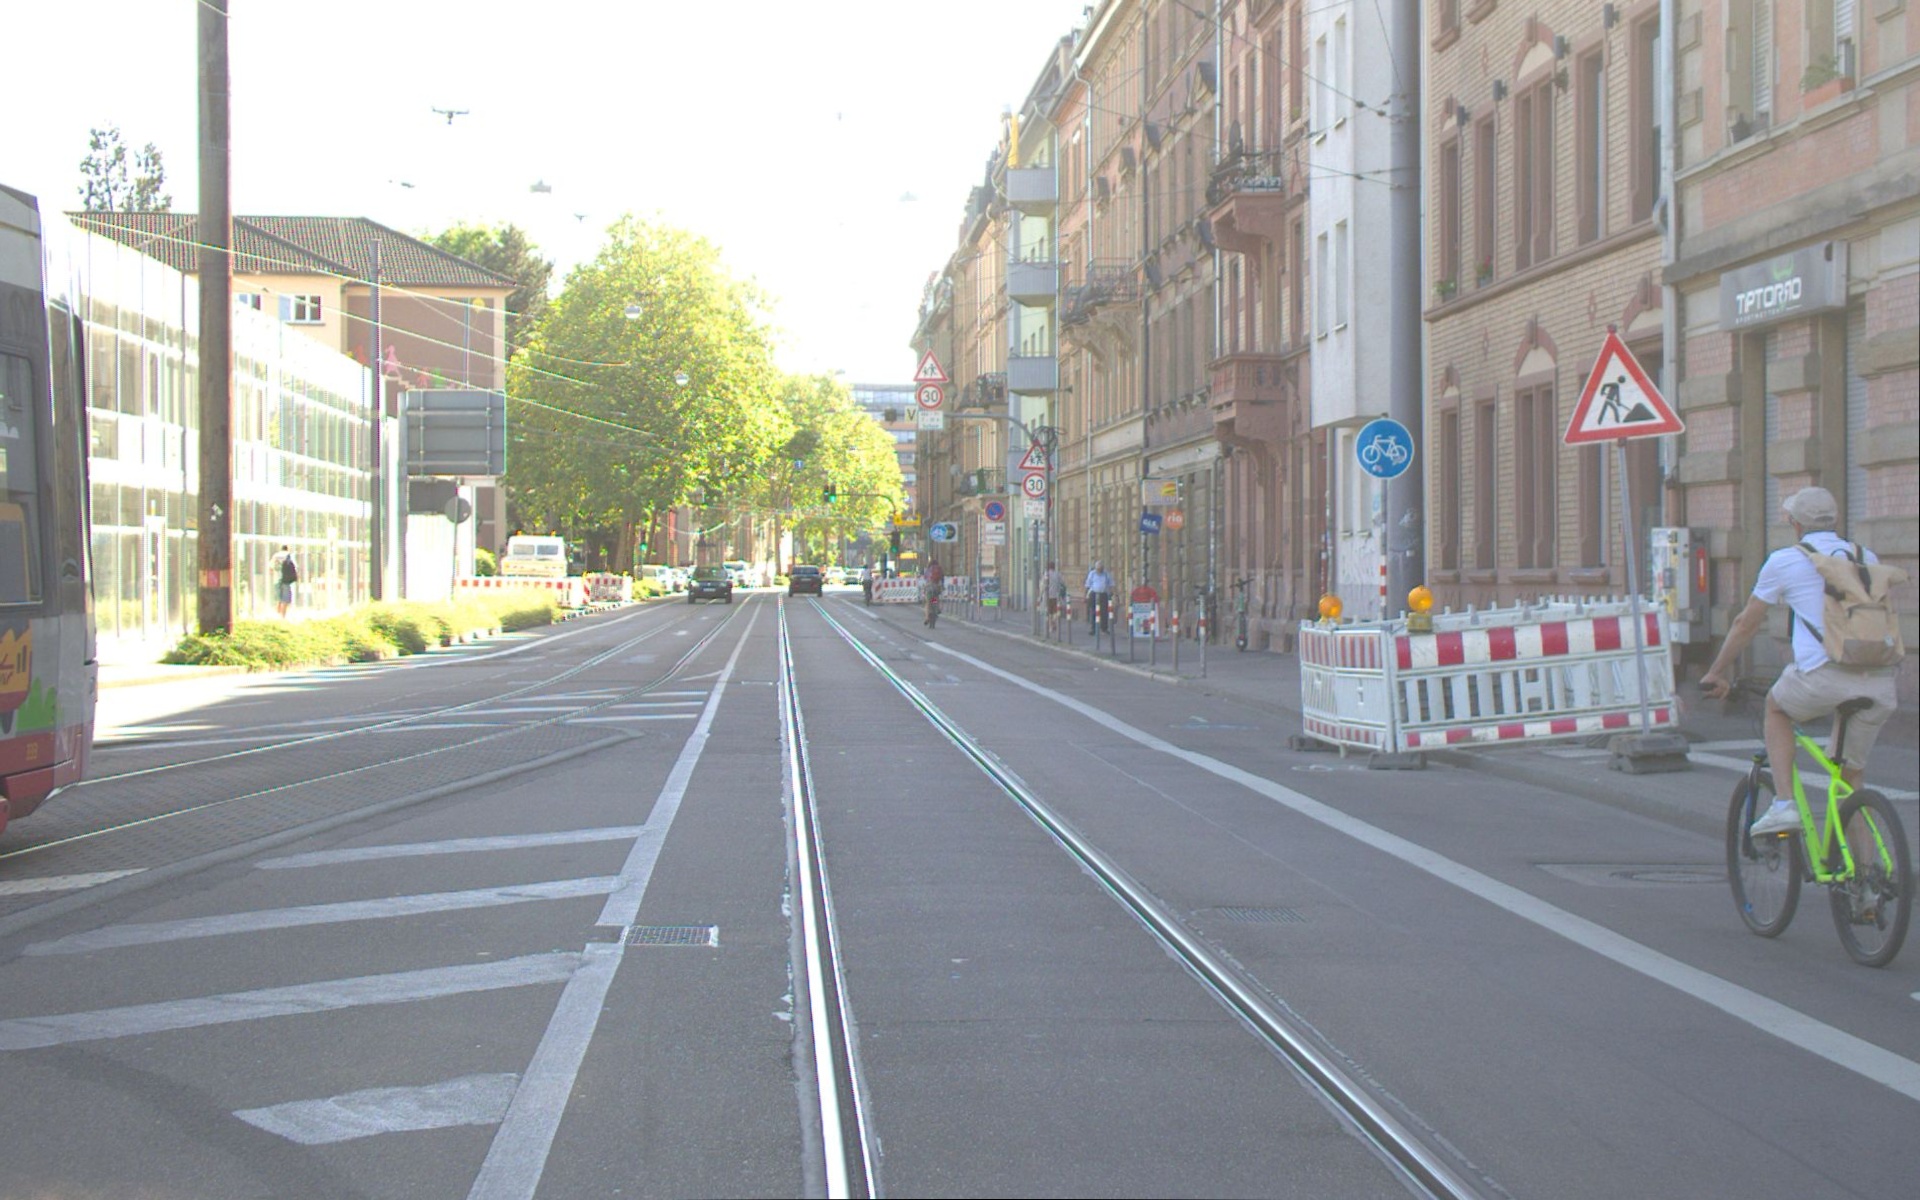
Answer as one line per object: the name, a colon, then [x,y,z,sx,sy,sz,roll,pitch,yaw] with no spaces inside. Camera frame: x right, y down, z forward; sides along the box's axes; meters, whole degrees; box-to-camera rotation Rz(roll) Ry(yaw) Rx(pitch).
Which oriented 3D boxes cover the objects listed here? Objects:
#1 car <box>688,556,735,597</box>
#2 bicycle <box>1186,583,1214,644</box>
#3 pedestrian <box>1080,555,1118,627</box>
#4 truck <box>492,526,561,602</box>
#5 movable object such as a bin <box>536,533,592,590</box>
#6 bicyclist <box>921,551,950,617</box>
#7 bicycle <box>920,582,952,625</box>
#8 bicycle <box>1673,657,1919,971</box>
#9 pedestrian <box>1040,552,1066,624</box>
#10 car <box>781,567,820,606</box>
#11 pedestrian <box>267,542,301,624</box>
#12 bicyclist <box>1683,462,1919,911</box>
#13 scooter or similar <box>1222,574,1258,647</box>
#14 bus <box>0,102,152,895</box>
car: [-10.510,-0.981,145.604,1.759,1.691,4.144,2,0,-2]
bicycle: [4.474,0.244,64.103,0.409,1.117,1.898,-1,0,1]
pedestrian: [3.091,-0.192,76.616,0.798,1.599,0.652,0,0,-1]
truck: [-16.875,-1.379,134.049,2.537,2.820,6.377,2,0,-7]
movable object such as a bin: [-18.973,-1.834,165.025,2.494,2.636,5.990,2,0,-6]
bicyclist: [-0.640,-0.420,90.470,0.667,1.691,1.043,2,0,-3]
bicycle: [-0.641,0.088,90.764,0.681,1.110,2.707,2,0,-3]
bicycle: [3.381,0.808,13.673,0.531,1.114,1.934,2,0,-4]
pedestrian: [2.191,-0.283,80.896,0.553,1.695,0.474,-2,0,3]
car: [-8.447,-0.717,182.557,1.993,2.007,4.000,2,0,-2]
pedestrian: [-14.699,-0.376,74.743,0.526,1.759,1.051,2,0,-3]
bicyclist: [3.370,0.329,13.529,0.681,1.678,1.120,2,0,-5]
scooter or similar: [4.723,0.182,58.002,0.406,1.207,1.480,-1,0,-2]
bus: [-5.812,-0.435,12.538,2.841,3.577,11.270,1,1,1]
